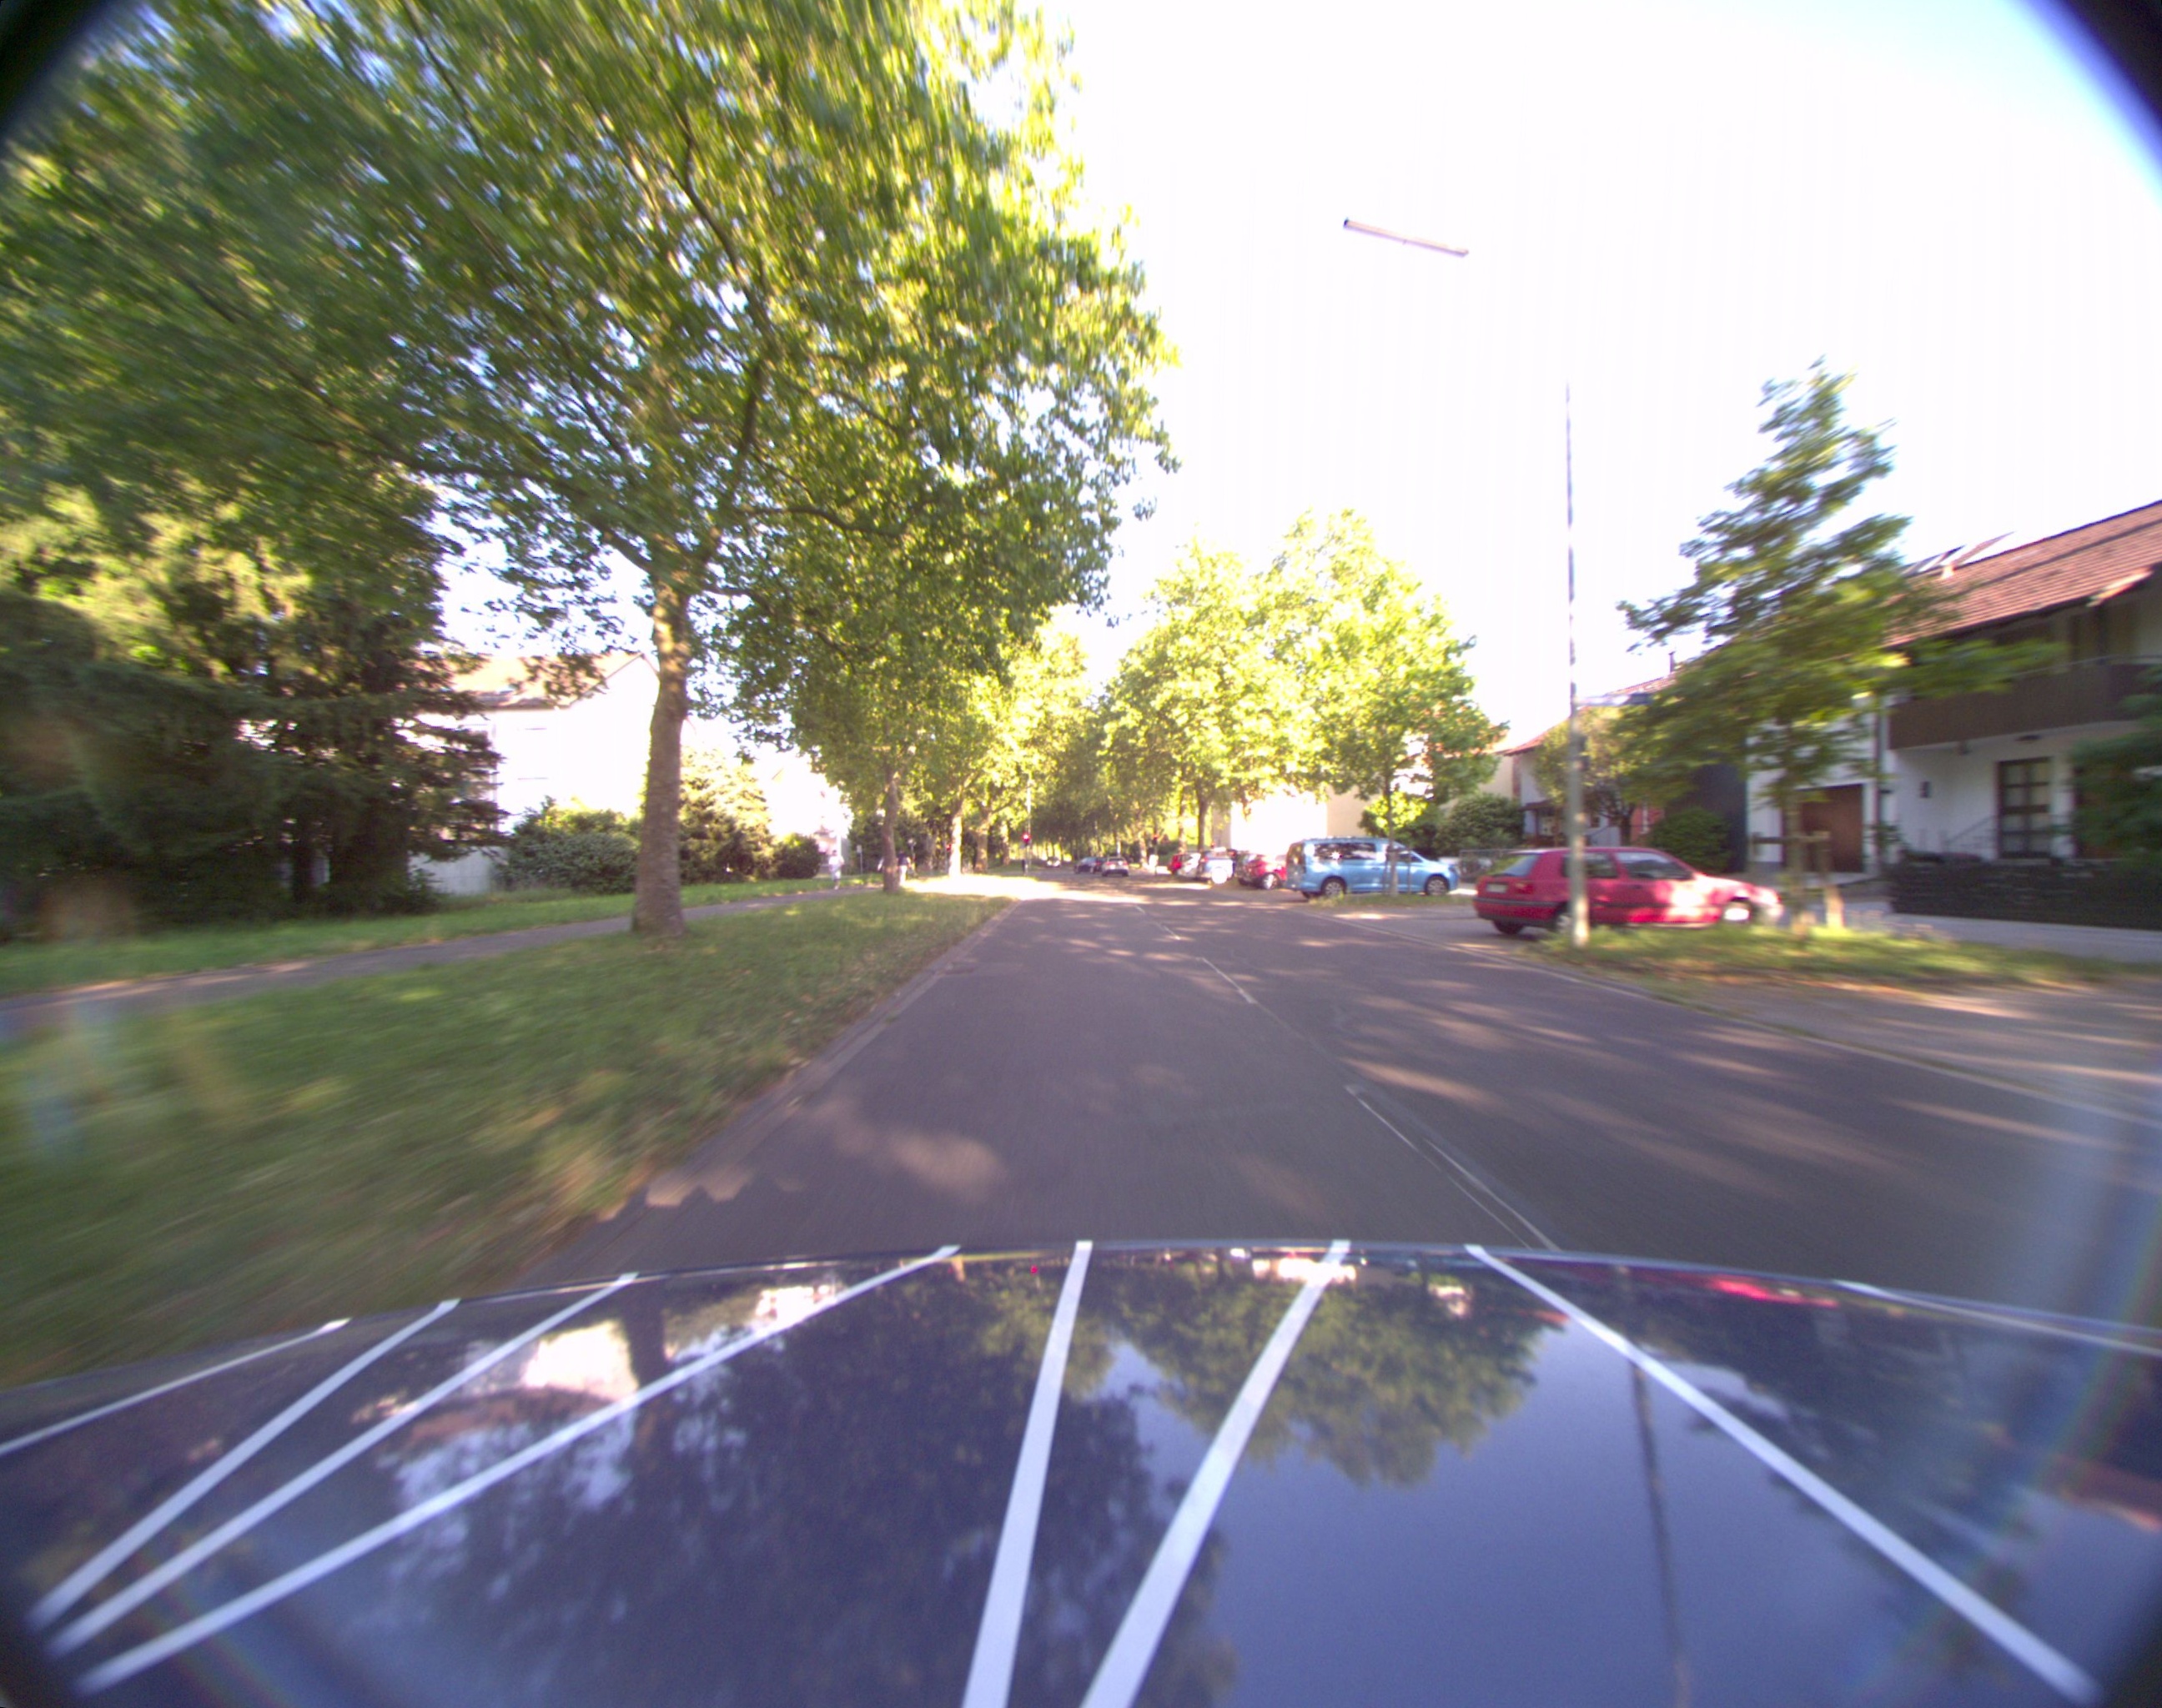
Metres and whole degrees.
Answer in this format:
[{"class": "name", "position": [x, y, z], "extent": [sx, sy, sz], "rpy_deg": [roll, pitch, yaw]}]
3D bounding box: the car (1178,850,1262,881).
[{"class": "car", "position": [7.566, 0.601, 41.712], "extent": [4.173, 1.492, 1.875], "rpy_deg": [-2, 0, -4]}]

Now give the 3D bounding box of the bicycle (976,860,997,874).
[{"class": "bicycle", "position": [-7.071, 0.999, 56.857], "extent": [1.715, 1.028, 0.447], "rpy_deg": [-1, -2, 33]}]

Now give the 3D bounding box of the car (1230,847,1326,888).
[{"class": "car", "position": [8.293, 0.548, 32.159], "extent": [3.522, 1.508, 1.726], "rpy_deg": [-3, 0, -6]}]

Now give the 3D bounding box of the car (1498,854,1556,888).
[{"class": "car", "position": [14.866, 0.568, 25.332], "extent": [1.518, 1.110, 0.700], "rpy_deg": [-1, 1, -1]}]

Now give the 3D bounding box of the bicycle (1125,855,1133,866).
[{"class": "bicycle", "position": [4.919, 0.675, 78.341], "extent": [0.510, 1.036, 2.151], "rpy_deg": [1, 2, -3]}]

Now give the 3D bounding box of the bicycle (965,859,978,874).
[{"class": "bicycle", "position": [-8.064, 0.908, 55.819], "extent": [0.447, 1.076, 2.004], "rpy_deg": [1, -2, -22]}]

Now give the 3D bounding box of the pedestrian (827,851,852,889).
[{"class": "pedestrian", "position": [-10.550, 0.681, 33.246], "extent": [0.781, 1.640, 0.938], "rpy_deg": [0, 0, -1]}]

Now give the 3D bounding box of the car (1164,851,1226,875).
[{"class": "car", "position": [7.723, 0.596, 51.678], "extent": [3.775, 1.526, 1.831], "rpy_deg": [-2, 0, -4]}]

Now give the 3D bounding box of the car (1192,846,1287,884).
[{"class": "car", "position": [7.605, 0.514, 36.693], "extent": [4.102, 1.706, 1.831], "rpy_deg": [-2, 0, -2]}]

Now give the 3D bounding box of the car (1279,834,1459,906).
[{"class": "car", "position": [8.222, 0.445, 21.942], "extent": [4.398, 1.813, 1.995], "rpy_deg": [-2, 0, -3]}]

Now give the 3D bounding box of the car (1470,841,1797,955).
[{"class": "car", "position": [8.342, 0.618, 11.687], "extent": [3.882, 1.509, 1.664], "rpy_deg": [-2, 1, -3]}]

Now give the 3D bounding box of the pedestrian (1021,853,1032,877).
[{"class": "pedestrian", "position": [-3.963, 0.795, 55.319], "extent": [0.637, 1.709, 0.825], "rpy_deg": [1, 0, -10]}]

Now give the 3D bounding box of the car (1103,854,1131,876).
[{"class": "car", "position": [2.599, 0.765, 56.115], "extent": [1.721, 1.492, 4.093], "rpy_deg": [-2, 0, -2]}]

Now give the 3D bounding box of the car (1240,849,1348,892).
[{"class": "car", "position": [8.232, 0.608, 29.562], "extent": [3.651, 1.508, 1.781], "rpy_deg": [-2, 0, -2]}]

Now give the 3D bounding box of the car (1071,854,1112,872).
[{"class": "car", "position": [0.864, 0.713, 64.805], "extent": [1.734, 1.455, 4.059], "rpy_deg": [-1, 1, -30]}]

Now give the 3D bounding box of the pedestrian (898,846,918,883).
[{"class": "pedestrian", "position": [-8.644, 0.525, 37.890], "extent": [0.763, 1.835, 0.787], "rpy_deg": [-1, 0, 1]}]

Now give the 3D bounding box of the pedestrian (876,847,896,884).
[{"class": "pedestrian", "position": [-9.736, 0.569, 37.962], "extent": [0.756, 1.836, 0.802], "rpy_deg": [-1, 0, 1]}]
